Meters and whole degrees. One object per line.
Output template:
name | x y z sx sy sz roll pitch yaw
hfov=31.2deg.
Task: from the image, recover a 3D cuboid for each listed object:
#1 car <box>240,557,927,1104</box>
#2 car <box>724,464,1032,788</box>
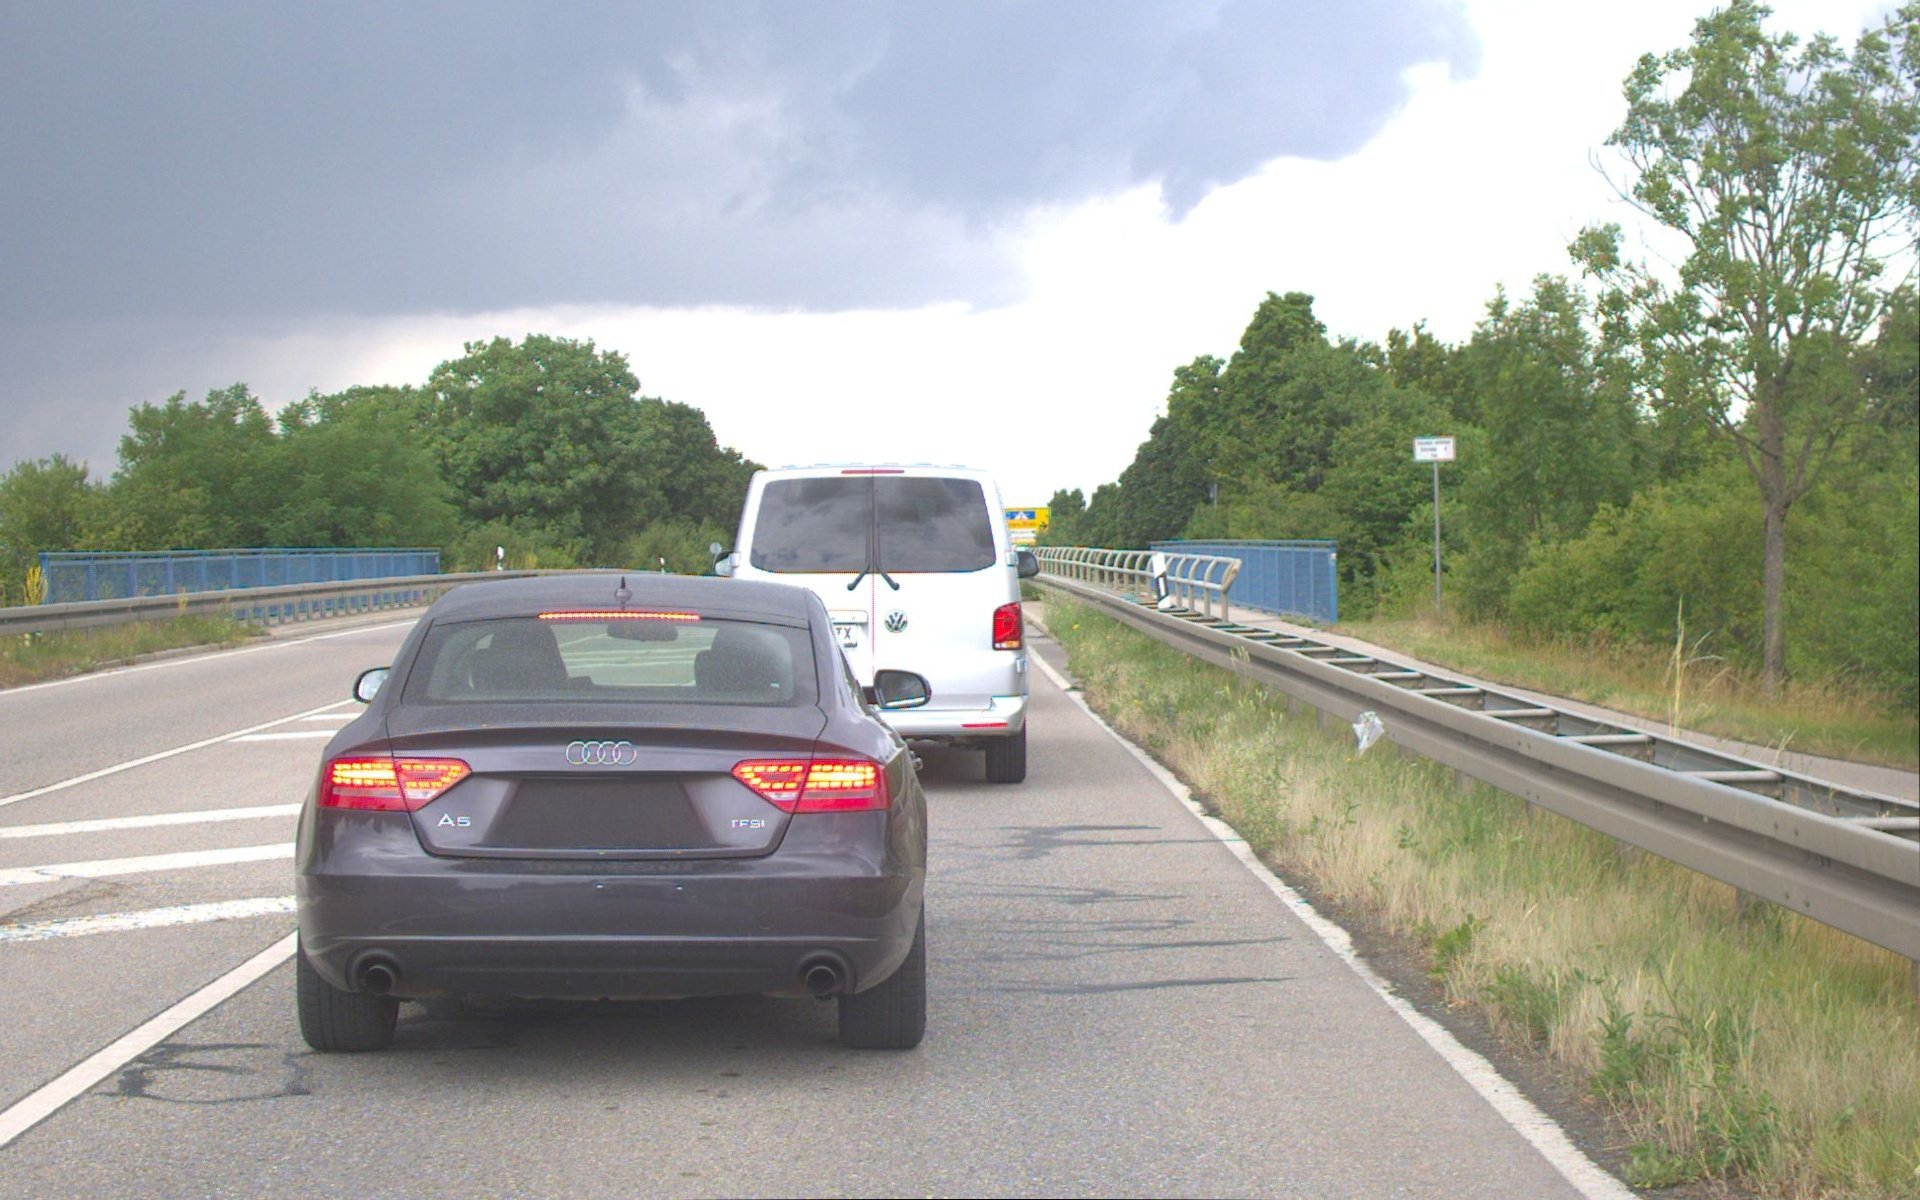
car | -1.016 0.588 11.013 1.785 1.419 4.000 1 0 -1
car | -0.507 0.137 22.134 1.785 1.883 4.000 1 0 -1
